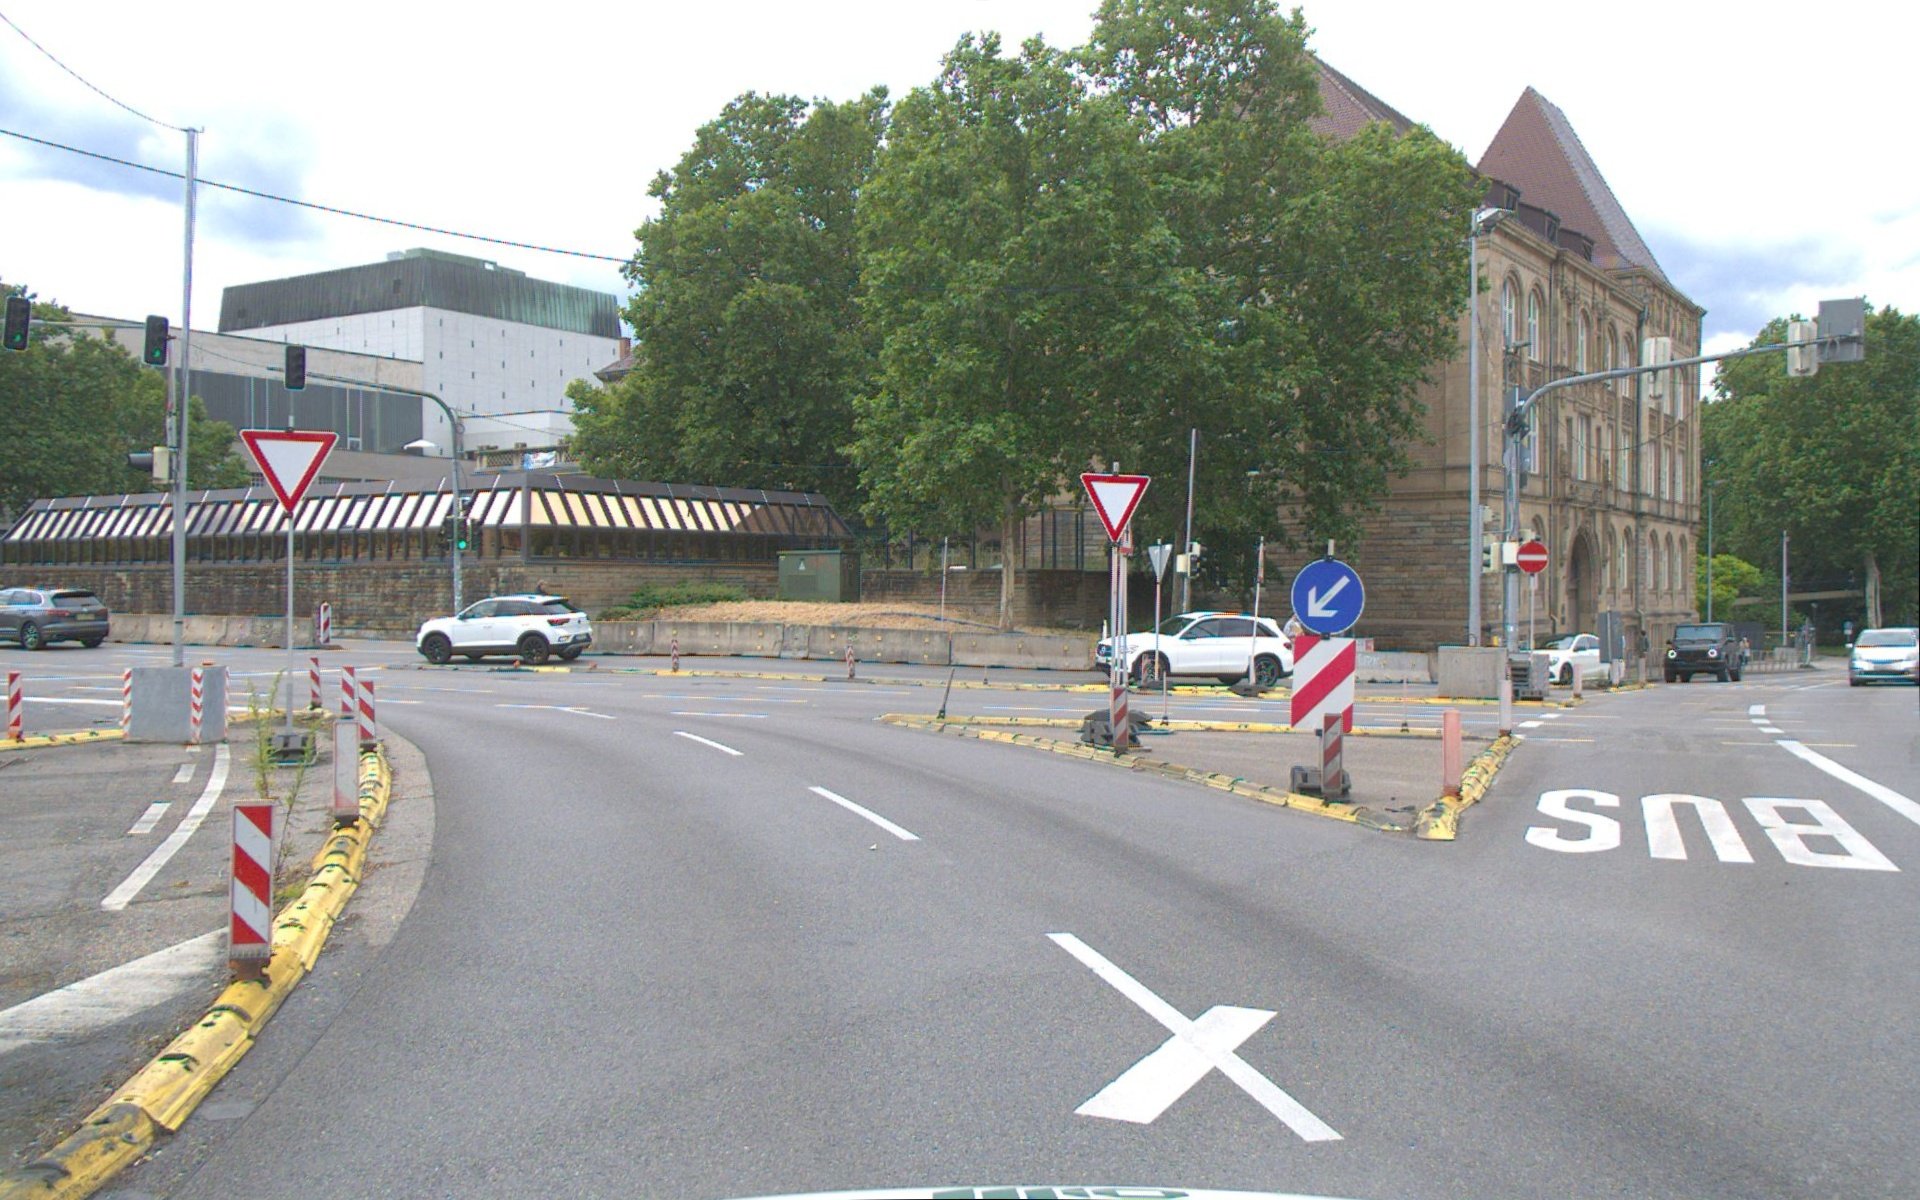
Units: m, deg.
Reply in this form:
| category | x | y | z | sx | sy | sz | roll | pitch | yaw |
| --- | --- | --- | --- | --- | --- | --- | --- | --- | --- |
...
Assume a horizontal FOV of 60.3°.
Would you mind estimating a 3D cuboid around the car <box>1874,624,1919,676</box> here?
| category | x | y | z | sx | sy | sz | roll | pitch | yaw |
| --- | --- | --- | --- | --- | --- | --- | --- | --- | --- |
| car | 28.458 | 1.474 | 49.678 | 1.630 | 1.460 | 3.439 | 1 | 0 | 31 |

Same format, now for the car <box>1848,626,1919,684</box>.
| category | x | y | z | sx | sy | sz | roll | pitch | yaw |
| --- | --- | --- | --- | --- | --- | --- | --- | --- | --- |
| car | 24.551 | 1.480 | 43.803 | 1.629 | 1.461 | 3.439 | -2 | -3 | 31 |

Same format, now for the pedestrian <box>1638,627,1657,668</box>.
| category | x | y | z | sx | sy | sz | roll | pitch | yaw |
| --- | --- | --- | --- | --- | --- | --- | --- | --- | --- |
| pedestrian | 28.661 | 1.979 | 68.973 | 0.647 | 1.664 | 0.849 | 0 | -1 | 29 |

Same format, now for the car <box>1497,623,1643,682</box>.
| category | x | y | z | sx | sy | sz | roll | pitch | yaw |
| --- | --- | --- | --- | --- | --- | --- | --- | --- | --- |
| car | 16.487 | 1.385 | 44.641 | 4.337 | 1.460 | 1.716 | 0 | 1 | -39 |

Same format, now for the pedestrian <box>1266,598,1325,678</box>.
| category | x | y | z | sx | sy | sz | roll | pitch | yaw |
| --- | --- | --- | --- | --- | --- | --- | --- | --- | --- |
| pedestrian | 8.740 | 0.974 | 43.143 | 1.168 | 2.049 | 1.202 | 1 | 0 | -7 |

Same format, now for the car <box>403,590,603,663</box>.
| category | x | y | z | sx | sy | sz | roll | pitch | yaw |
| --- | --- | --- | --- | --- | --- | --- | --- | --- | --- |
| car | -10.776 | 0.602 | 39.068 | 4.225 | 1.595 | 1.758 | 0 | 2 | 14 |

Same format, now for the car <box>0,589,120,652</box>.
| category | x | y | z | sx | sy | sz | roll | pitch | yaw |
| --- | --- | --- | --- | --- | --- | --- | --- | --- | --- |
| car | -25.710 | 0.534 | 46.305 | 4.381 | 1.595 | 1.826 | 1 | 1 | 30 |

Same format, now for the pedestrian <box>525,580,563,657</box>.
| category | x | y | z | sx | sy | sz | roll | pitch | yaw |
| --- | --- | --- | --- | --- | --- | --- | --- | --- | --- |
| pedestrian | -11.100 | 0.492 | 44.135 | 0.830 | 2.049 | 0.623 | 0 | -1 | 0 |

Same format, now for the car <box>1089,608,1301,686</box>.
| category | x | y | z | sx | sy | sz | roll | pitch | yaw |
| --- | --- | --- | --- | --- | --- | --- | --- | --- | --- |
| car | 5.319 | 1.036 | 37.495 | 4.469 | 1.671 | 1.807 | 1 | 0 | -20 |

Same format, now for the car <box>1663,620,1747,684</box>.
| category | x | y | z | sx | sy | sz | roll | pitch | yaw |
| --- | --- | --- | --- | --- | --- | --- | --- | --- | --- |
| car | 24.991 | 1.782 | 55.452 | 1.899 | 1.972 | 3.659 | -2 | -5 | 35 |

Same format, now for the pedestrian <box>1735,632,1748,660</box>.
| category | x | y | z | sx | sy | sz | roll | pitch | yaw |
| --- | --- | --- | --- | --- | --- | --- | --- | --- | --- |
| pedestrian | 46.173 | 2.715 | 97.716 | 0.647 | 1.664 | 0.849 | 0 | -1 | 29 |
